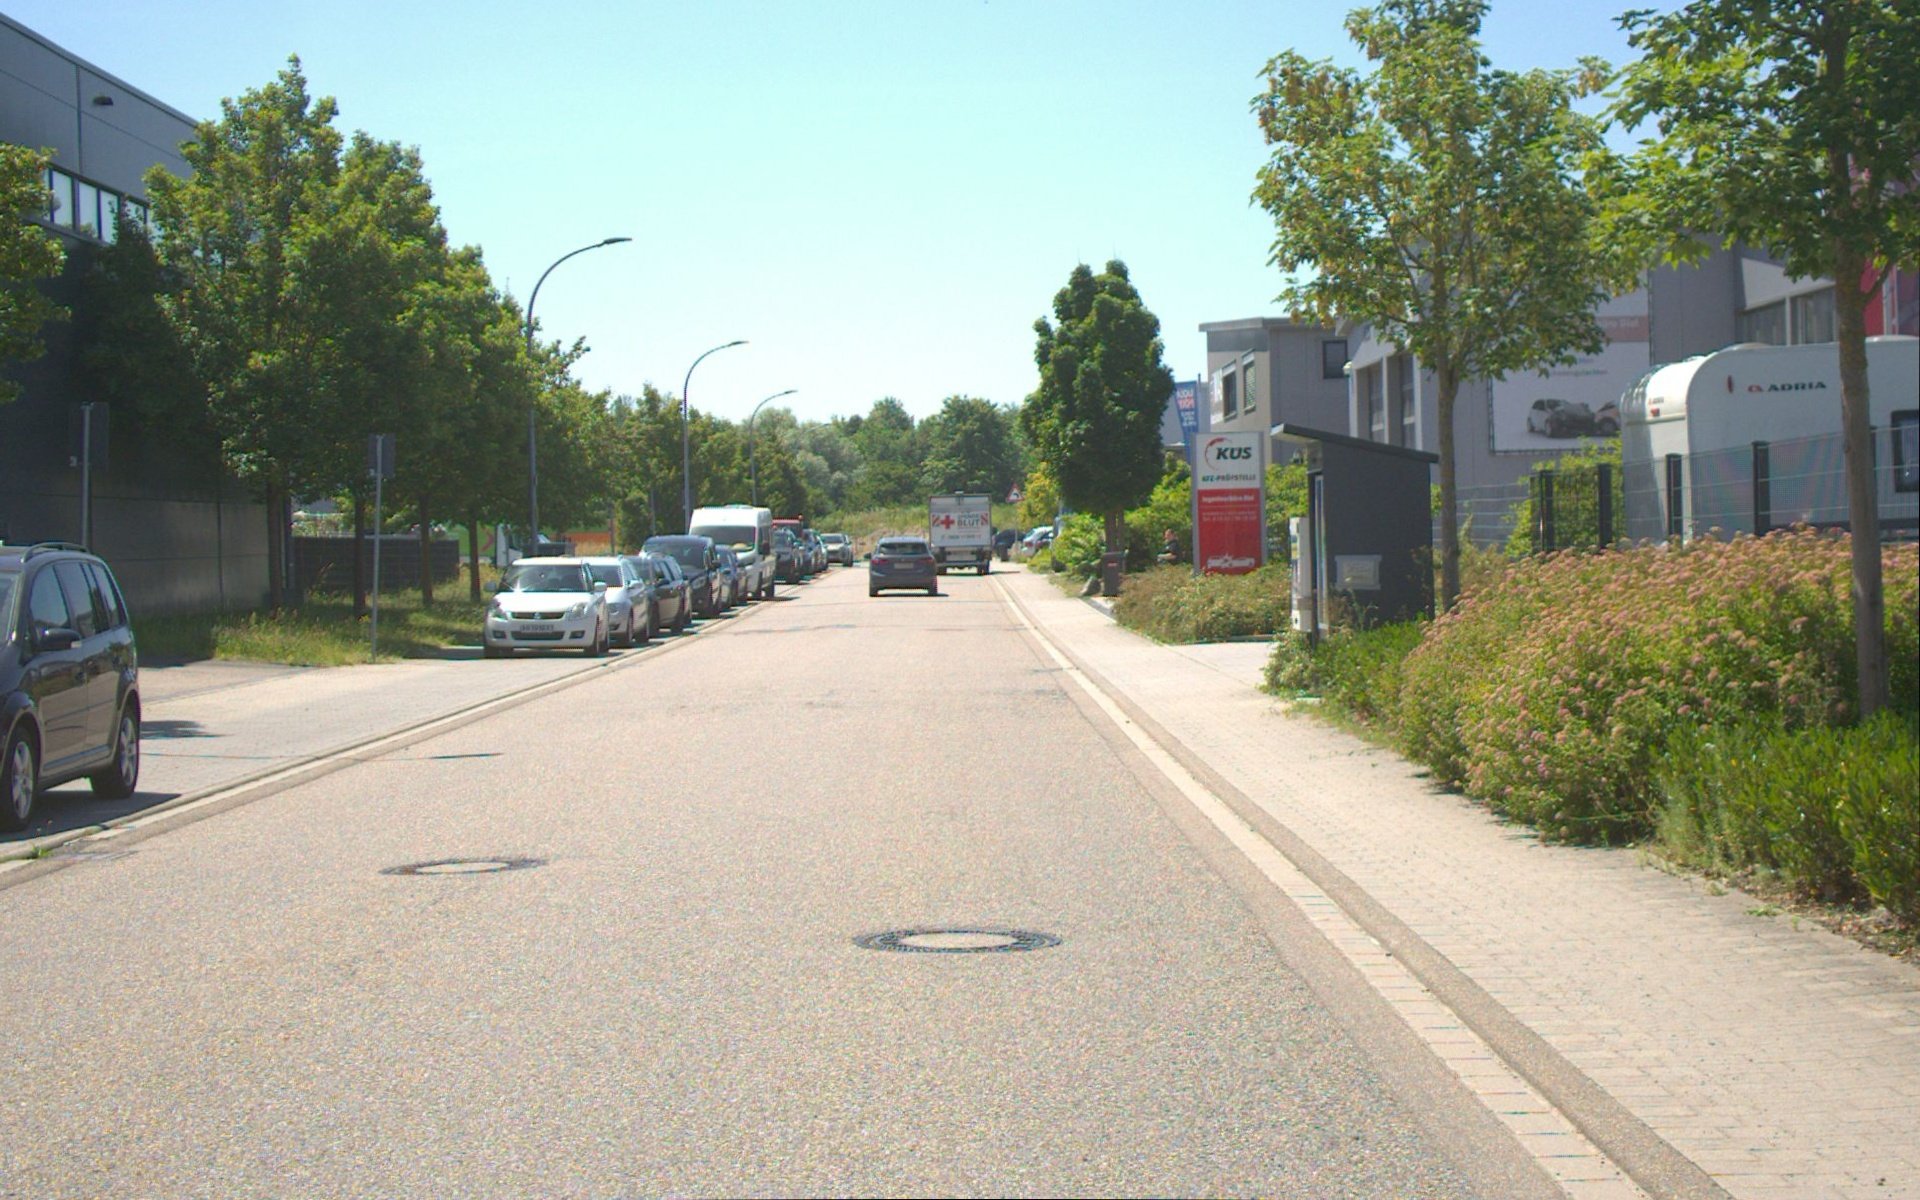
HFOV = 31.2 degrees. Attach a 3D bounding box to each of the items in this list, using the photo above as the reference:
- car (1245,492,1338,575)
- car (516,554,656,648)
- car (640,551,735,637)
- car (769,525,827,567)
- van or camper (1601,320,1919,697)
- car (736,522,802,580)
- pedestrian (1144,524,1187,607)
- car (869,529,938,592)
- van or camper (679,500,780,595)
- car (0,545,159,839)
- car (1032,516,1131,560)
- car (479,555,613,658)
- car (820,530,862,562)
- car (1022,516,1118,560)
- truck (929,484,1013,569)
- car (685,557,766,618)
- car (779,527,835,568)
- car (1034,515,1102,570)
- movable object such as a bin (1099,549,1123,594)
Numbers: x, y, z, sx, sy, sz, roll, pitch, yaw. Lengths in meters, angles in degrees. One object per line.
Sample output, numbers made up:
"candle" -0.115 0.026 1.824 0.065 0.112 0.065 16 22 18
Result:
"car" 7.613 -1.502 79.248 1.785 1.777 4.905 -2 0 2
"car" -6.243 -0.015 57.790 1.799 1.471 4.555 -1 1 0
"car" -6.007 -0.165 76.083 1.799 1.808 4.253 -1 1 -1
"car" -5.931 -1.995 126.361 1.799 1.482 4.252 -1 2 2
"van or camper" 8.384 -0.742 25.300 6.757 2.576 2.636 -2 1 -1
"car" -6.318 -1.650 113.966 1.799 1.842 4.252 -1 2 2
"pedestrian" 4.146 -0.695 69.262 0.499 1.607 0.714 -5 1 -18
"car" -1.485 -1.072 91.757 1.789 1.618 3.809 1 1 0
"van or camper" -6.222 -1.435 93.564 2.079 2.474 6.130 1 1 2
"car" -6.183 0.481 20.758 1.770 1.606 4.248 -1 1 -1
"car" 4.945 -2.531 140.160 3.875 1.744 1.752 1 1 -2
"car" -6.287 0.071 52.529 1.720 1.471 3.858 -1 1 -2
"car" -5.907 -2.695 171.151 1.799 1.482 4.252 -1 2 2
"car" 4.550 -2.578 142.693 3.875 1.744 1.752 1 1 -2
"truck" 0.415 -2.643 124.982 2.933 2.963 6.419 1 1 0
"car" -5.881 -0.335 86.561 1.799 1.444 4.253 -1 1 -1
"car" -5.798 -1.994 130.666 1.799 1.482 4.252 -1 2 2
"car" 3.709 -1.987 118.460 1.993 1.797 4.140 -2 1 -2
"movable object such as a bin" 3.600 -0.676 81.834 0.531 1.049 0.845 -2 1 2
